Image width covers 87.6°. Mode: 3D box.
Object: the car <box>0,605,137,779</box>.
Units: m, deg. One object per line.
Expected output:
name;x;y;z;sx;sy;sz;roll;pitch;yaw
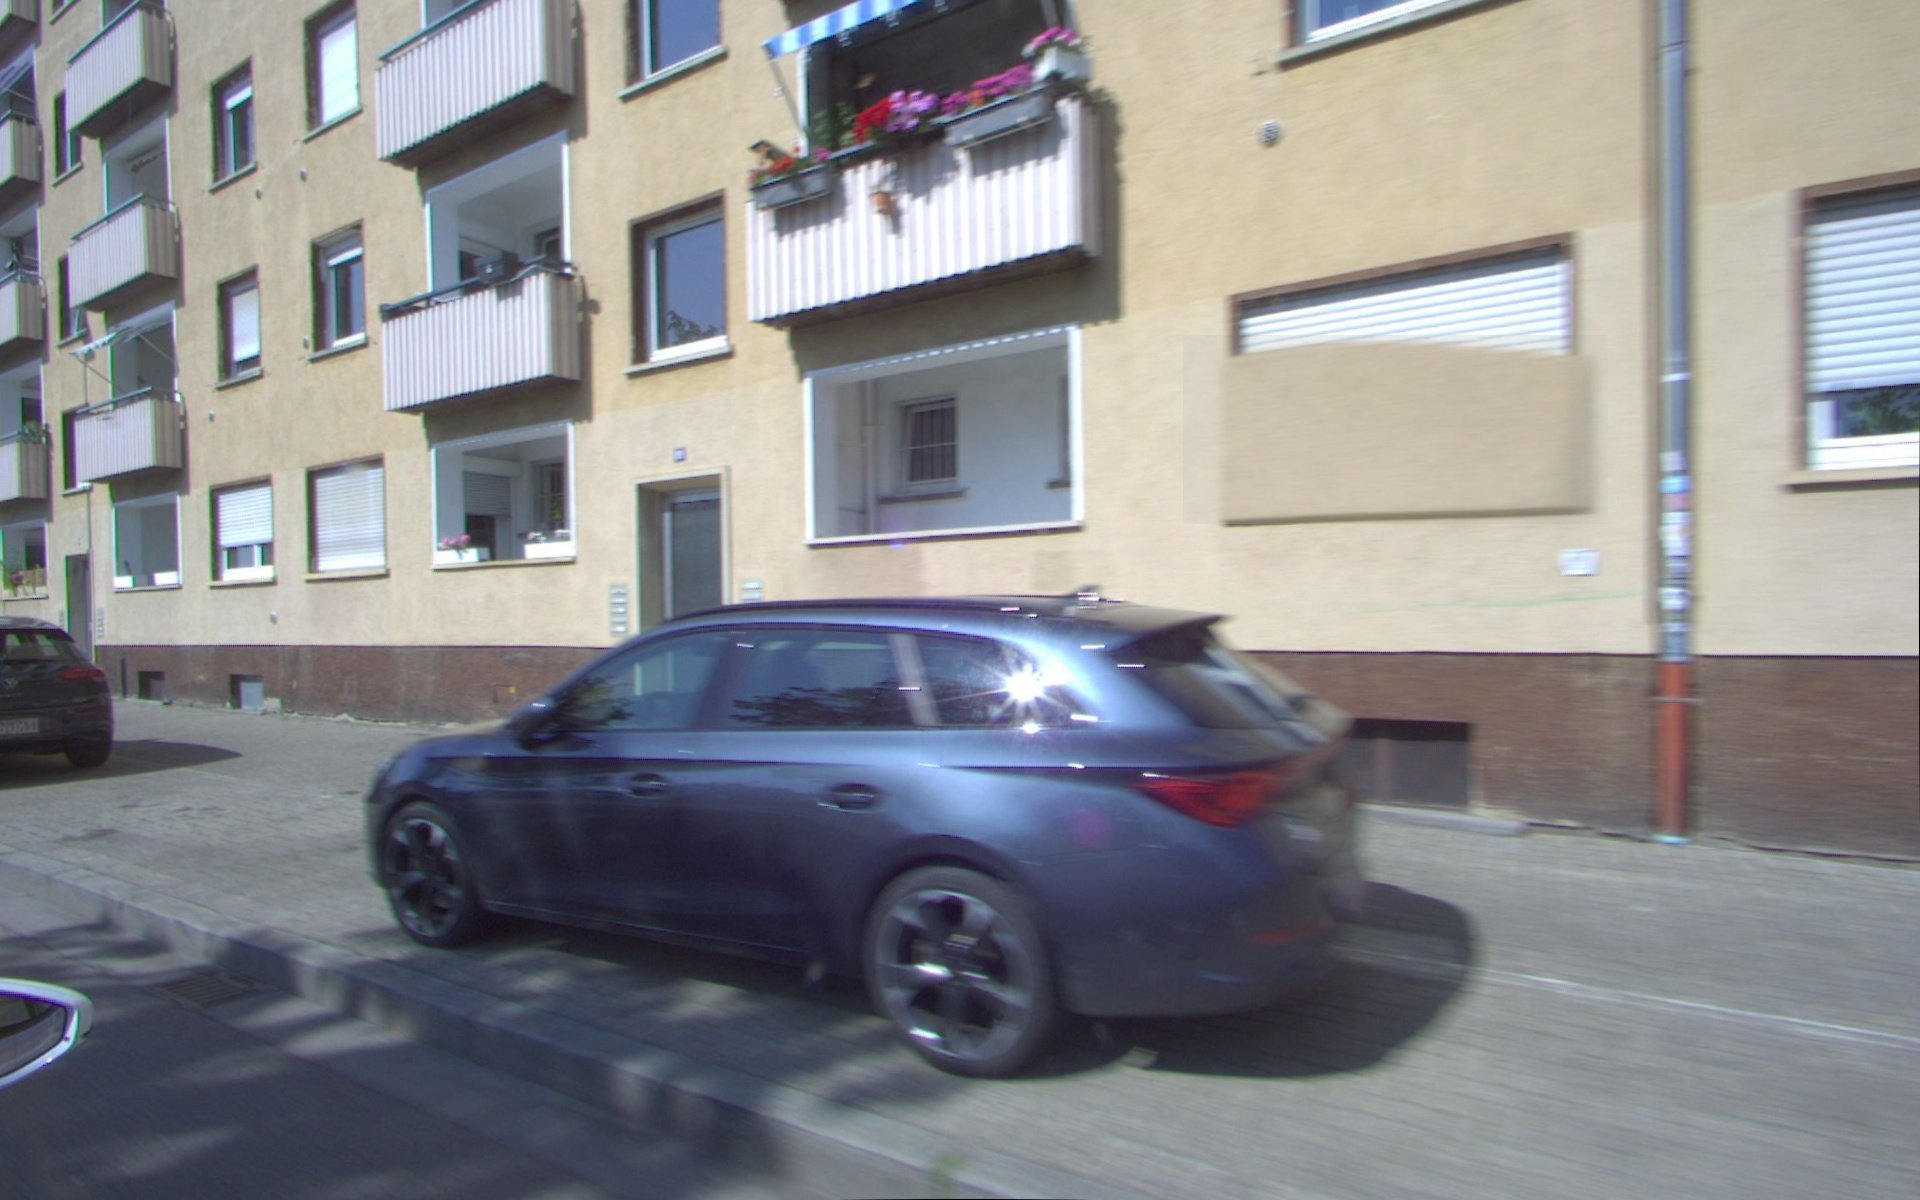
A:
car;-10.019;0.804;9.758;4.192;1.481;1.708;0;1;30

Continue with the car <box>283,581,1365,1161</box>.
car;-0.746;0.681;4.389;4.519;1.457;1.798;0;1;29
